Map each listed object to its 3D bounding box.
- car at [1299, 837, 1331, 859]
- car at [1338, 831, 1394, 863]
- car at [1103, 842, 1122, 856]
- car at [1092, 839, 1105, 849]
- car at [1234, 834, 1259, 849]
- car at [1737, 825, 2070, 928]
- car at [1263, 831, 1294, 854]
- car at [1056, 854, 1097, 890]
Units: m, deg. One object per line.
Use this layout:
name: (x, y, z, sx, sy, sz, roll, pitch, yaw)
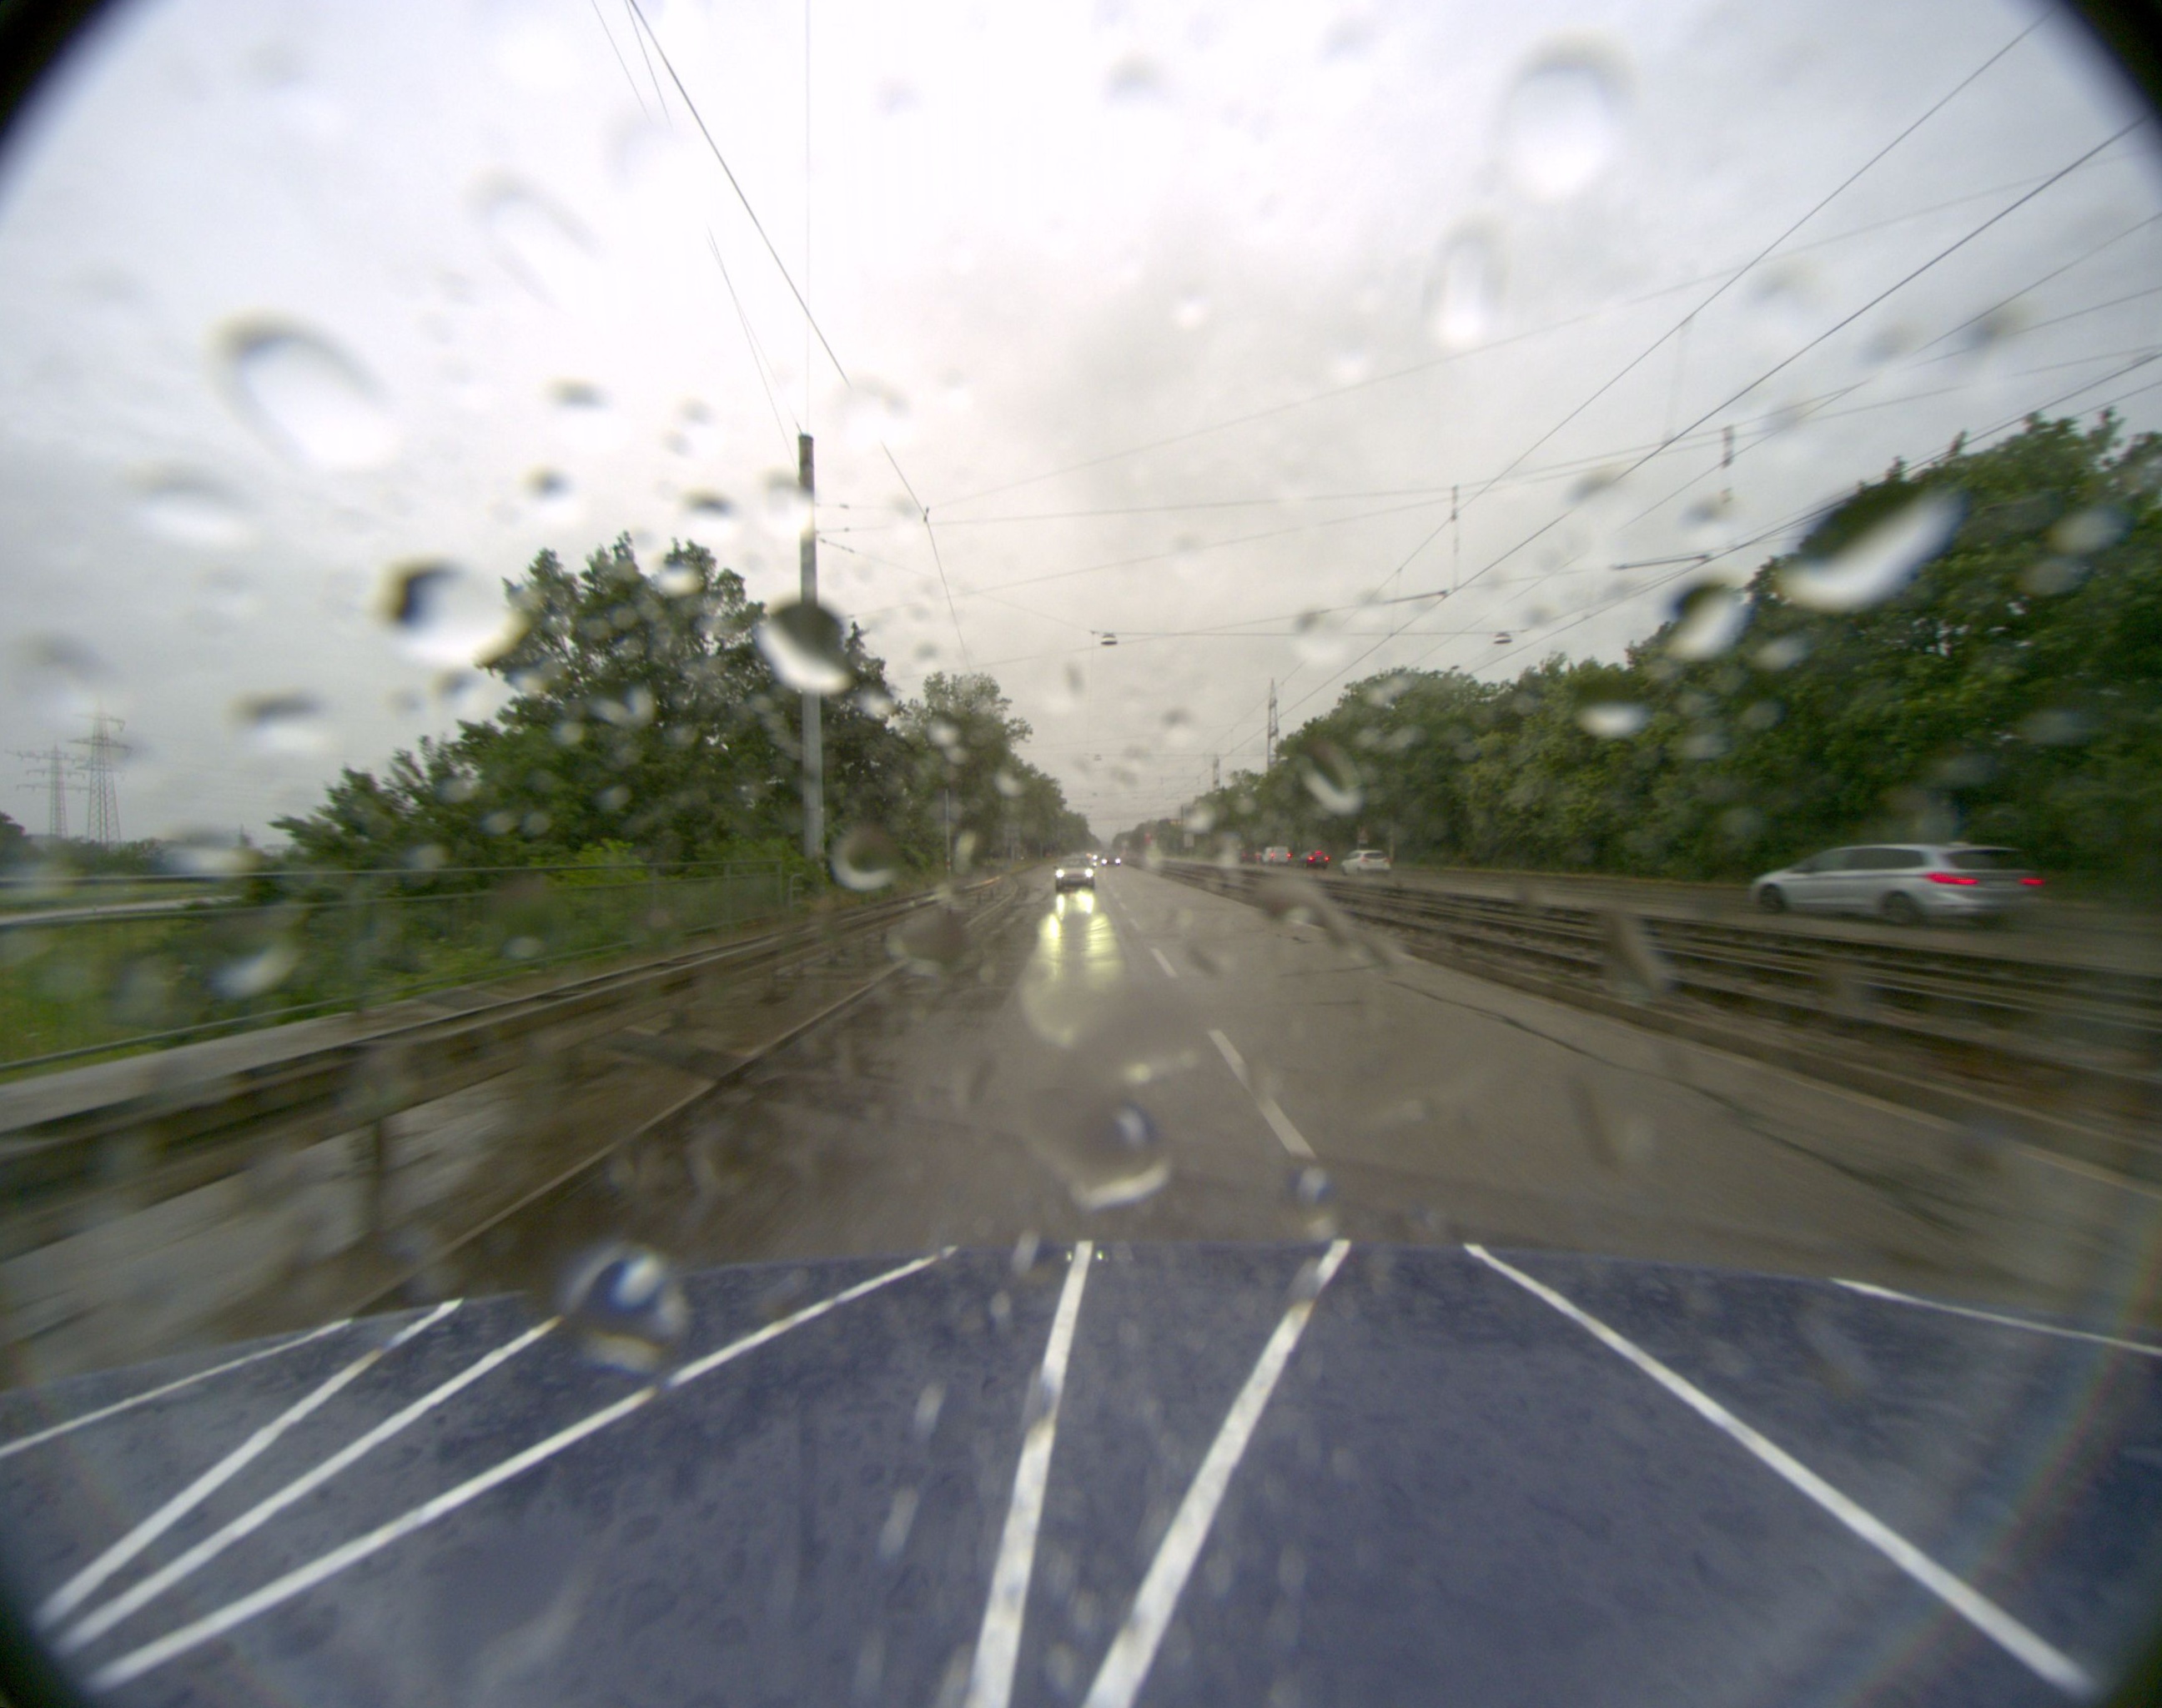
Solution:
car: (19.994, -0.529, 65.169, 1.777, 1.621, 3.671, -4, 2, 5)
car: (16.346, -0.462, 43.793, 1.777, 1.621, 3.669, -4, 2, 1)
car: (3.399, -0.572, 82.634, 1.971, 1.412, 3.999, 0, 2, 1)
car: (2.716, -1.600, 120.361, 1.971, 1.412, 3.999, 0, 2, 1)
car: (20.333, -1.566, 93.371, 2.190, 1.688, 4.145, -4, 2, 3)
car: (16.528, 0.324, 15.730, 1.837, 1.701, 4.660, -4, 2, 1)
car: (20.602, -1.242, 79.374, 2.190, 2.092, 4.145, -4, 2, 3)
car: (-0.161, 0.749, 34.445, 1.751, 1.412, 3.999, 0, 2, 1)
